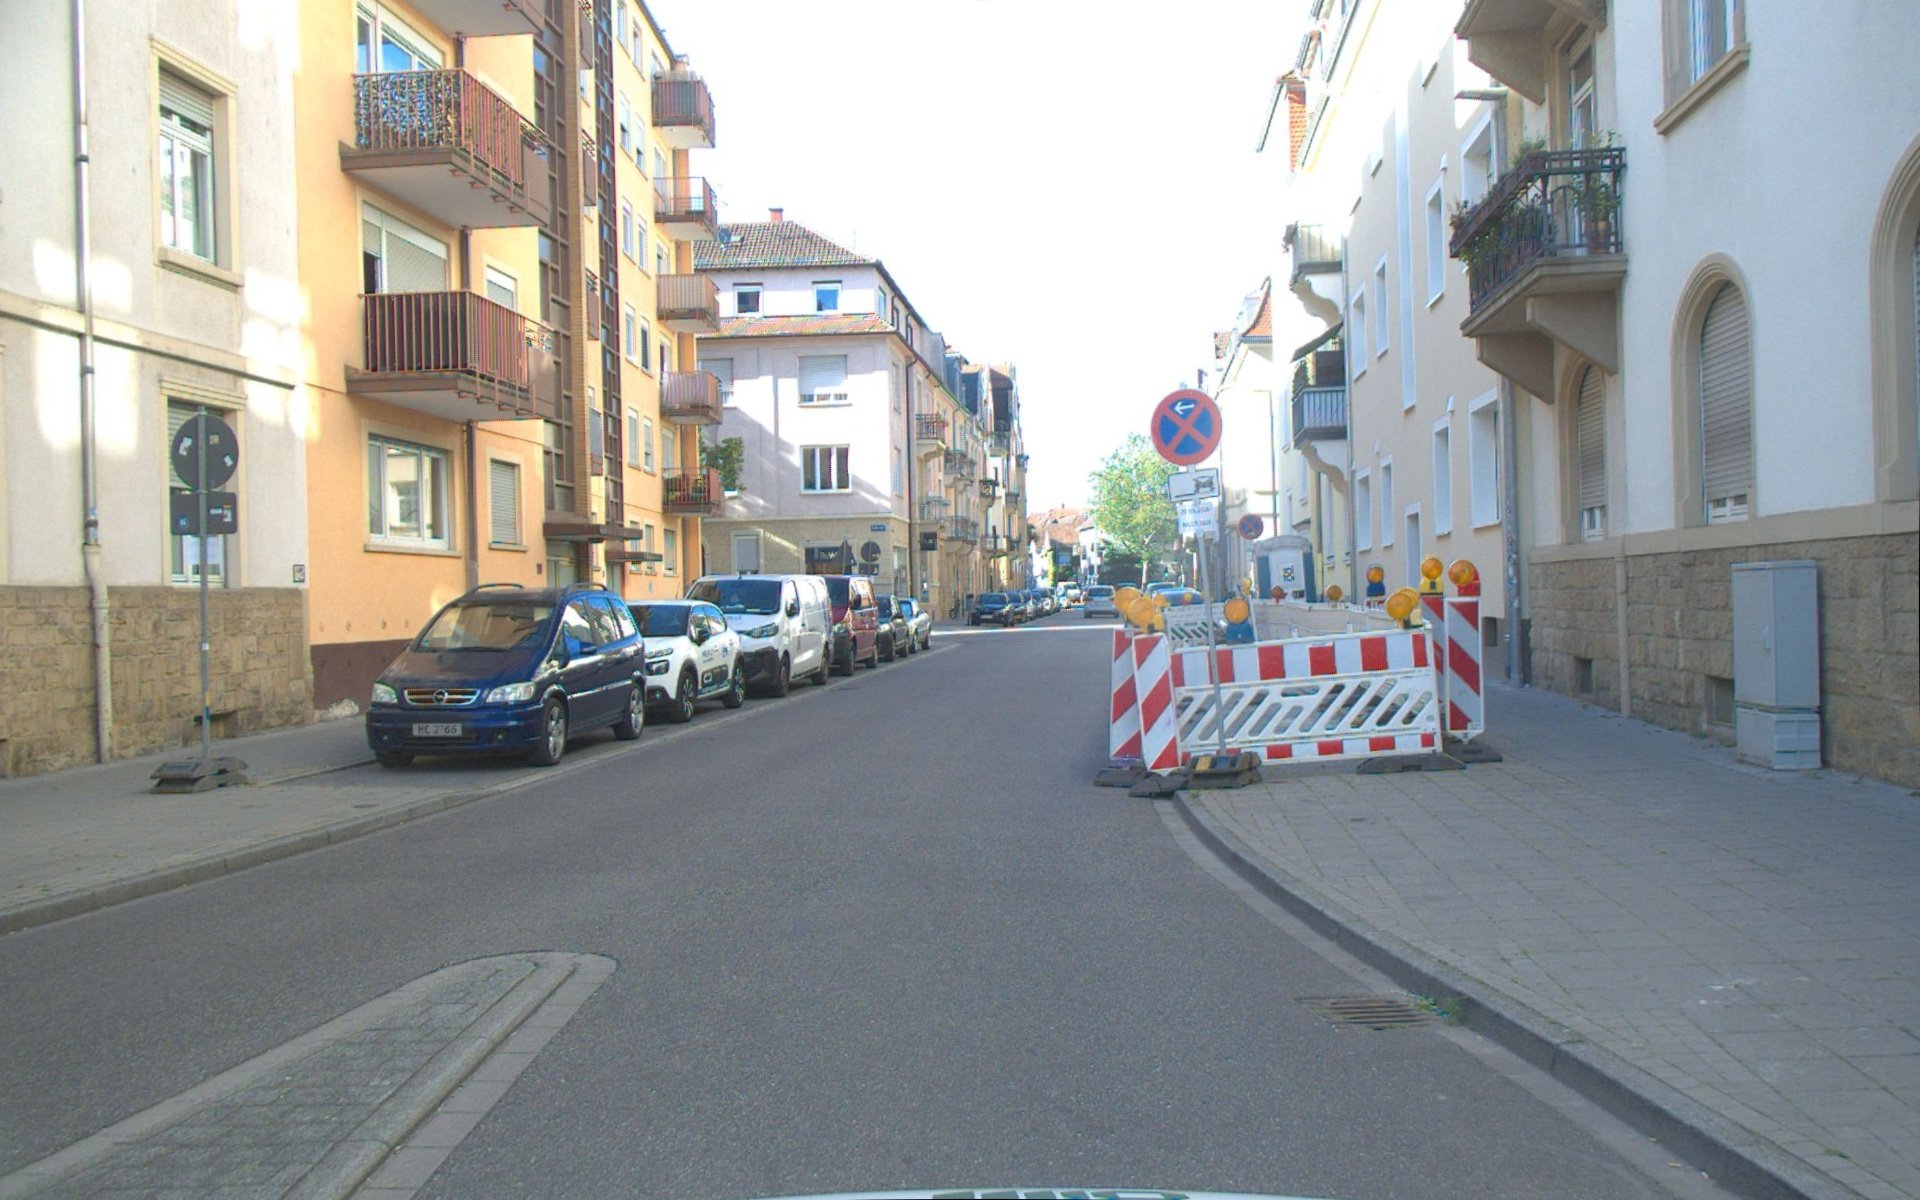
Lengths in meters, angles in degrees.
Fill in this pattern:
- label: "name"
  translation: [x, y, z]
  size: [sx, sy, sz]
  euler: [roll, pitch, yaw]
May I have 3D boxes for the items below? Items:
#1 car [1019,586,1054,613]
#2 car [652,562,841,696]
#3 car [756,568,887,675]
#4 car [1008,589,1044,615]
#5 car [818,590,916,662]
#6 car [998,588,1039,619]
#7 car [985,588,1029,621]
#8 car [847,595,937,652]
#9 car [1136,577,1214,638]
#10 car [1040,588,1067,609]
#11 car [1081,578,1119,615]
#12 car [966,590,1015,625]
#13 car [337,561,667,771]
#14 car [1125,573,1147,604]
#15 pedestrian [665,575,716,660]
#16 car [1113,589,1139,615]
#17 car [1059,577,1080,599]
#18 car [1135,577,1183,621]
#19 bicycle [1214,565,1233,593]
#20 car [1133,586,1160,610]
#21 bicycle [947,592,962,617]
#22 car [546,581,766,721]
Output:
- label: "car"
  translation: [4.784, -0.013, 103.079]
  size: [1.961, 1.647, 4.490]
  euler: [0, 0, 5]
- label: "car"
  translation: [-3.374, 0.418, 27.277]
  size: [1.934, 1.959, 5.313]
  euler: [-1, 0, 5]
- label: "car"
  translation: [-2.689, 0.386, 33.274]
  size: [1.725, 1.959, 4.938]
  euler: [-1, 0, 5]
- label: "car"
  translation: [3.932, 0.153, 98.383]
  size: [1.937, 1.508, 4.330]
  euler: [0, 0, 5]
- label: "car"
  translation: [-2.134, 0.571, 38.982]
  size: [1.725, 1.528, 4.002]
  euler: [-2, 0, 4]
- label: "car"
  translation: [3.194, 0.186, 89.661]
  size: [1.961, 1.647, 4.490]
  euler: [0, 0, 5]
- label: "car"
  translation: [2.370, 0.227, 82.575]
  size: [1.961, 1.610, 4.490]
  euler: [0, 0, 5]
- label: "car"
  translation: [-1.754, 0.580, 44.197]
  size: [1.725, 1.401, 4.481]
  euler: [-1, 0, 6]
- label: "car"
  translation: [5.920, 0.192, 45.966]
  size: [1.726, 1.496, 4.086]
  euler: [-4, 0, 3]
- label: "car"
  translation: [7.339, -0.090, 128.972]
  size: [1.961, 1.633, 4.490]
  euler: [0, 0, 5]
- label: "car"
  translation: [7.649, -0.165, 90.146]
  size: [1.961, 1.947, 4.490]
  euler: [0, 0, 6]
- label: "car"
  translation: [1.335, 0.328, 71.716]
  size: [1.644, 1.451, 4.277]
  euler: [0, 0, 7]
- label: "car"
  translation: [-4.373, 0.564, 16.527]
  size: [1.725, 1.802, 4.297]
  euler: [-1, 0, 5]
- label: "car"
  translation: [15.876, -1.030, 148.829]
  size: [1.800, 2.578, 4.178]
  euler: [-3, -2, 6]
- label: "pedestrian"
  translation: [-6.002, 0.389, 36.893]
  size: [0.904, 1.849, 0.995]
  euler: [-1, 0, 2]
- label: "car"
  translation: [13.144, 0.150, 131.357]
  size: [1.961, 2.035, 4.490]
  euler: [0, 0, 5]
- label: "car"
  translation: [10.601, -1.109, 159.703]
  size: [1.961, 2.035, 4.490]
  euler: [0, 0, 5]
- label: "car"
  translation: [8.526, -0.024, 70.699]
  size: [1.873, 1.673, 4.777]
  euler: [-3, -1, 8]
- label: "bicycle"
  translation: [12.697, -1.004, 79.698]
  size: [0.745, 1.268, 2.593]
  euler: [-2, 0, 6]
- label: "car"
  translation: [13.349, -0.127, 118.192]
  size: [1.800, 1.456, 4.031]
  euler: [-3, -2, 6]
- label: "bicycle"
  translation: [-0.301, 0.230, 87.793]
  size: [0.529, 1.324, 1.868]
  euler: [-1, 0, 7]
- label: "car"
  translation: [-3.894, 0.599, 21.916]
  size: [1.725, 1.649, 4.298]
  euler: [-1, 0, 5]
